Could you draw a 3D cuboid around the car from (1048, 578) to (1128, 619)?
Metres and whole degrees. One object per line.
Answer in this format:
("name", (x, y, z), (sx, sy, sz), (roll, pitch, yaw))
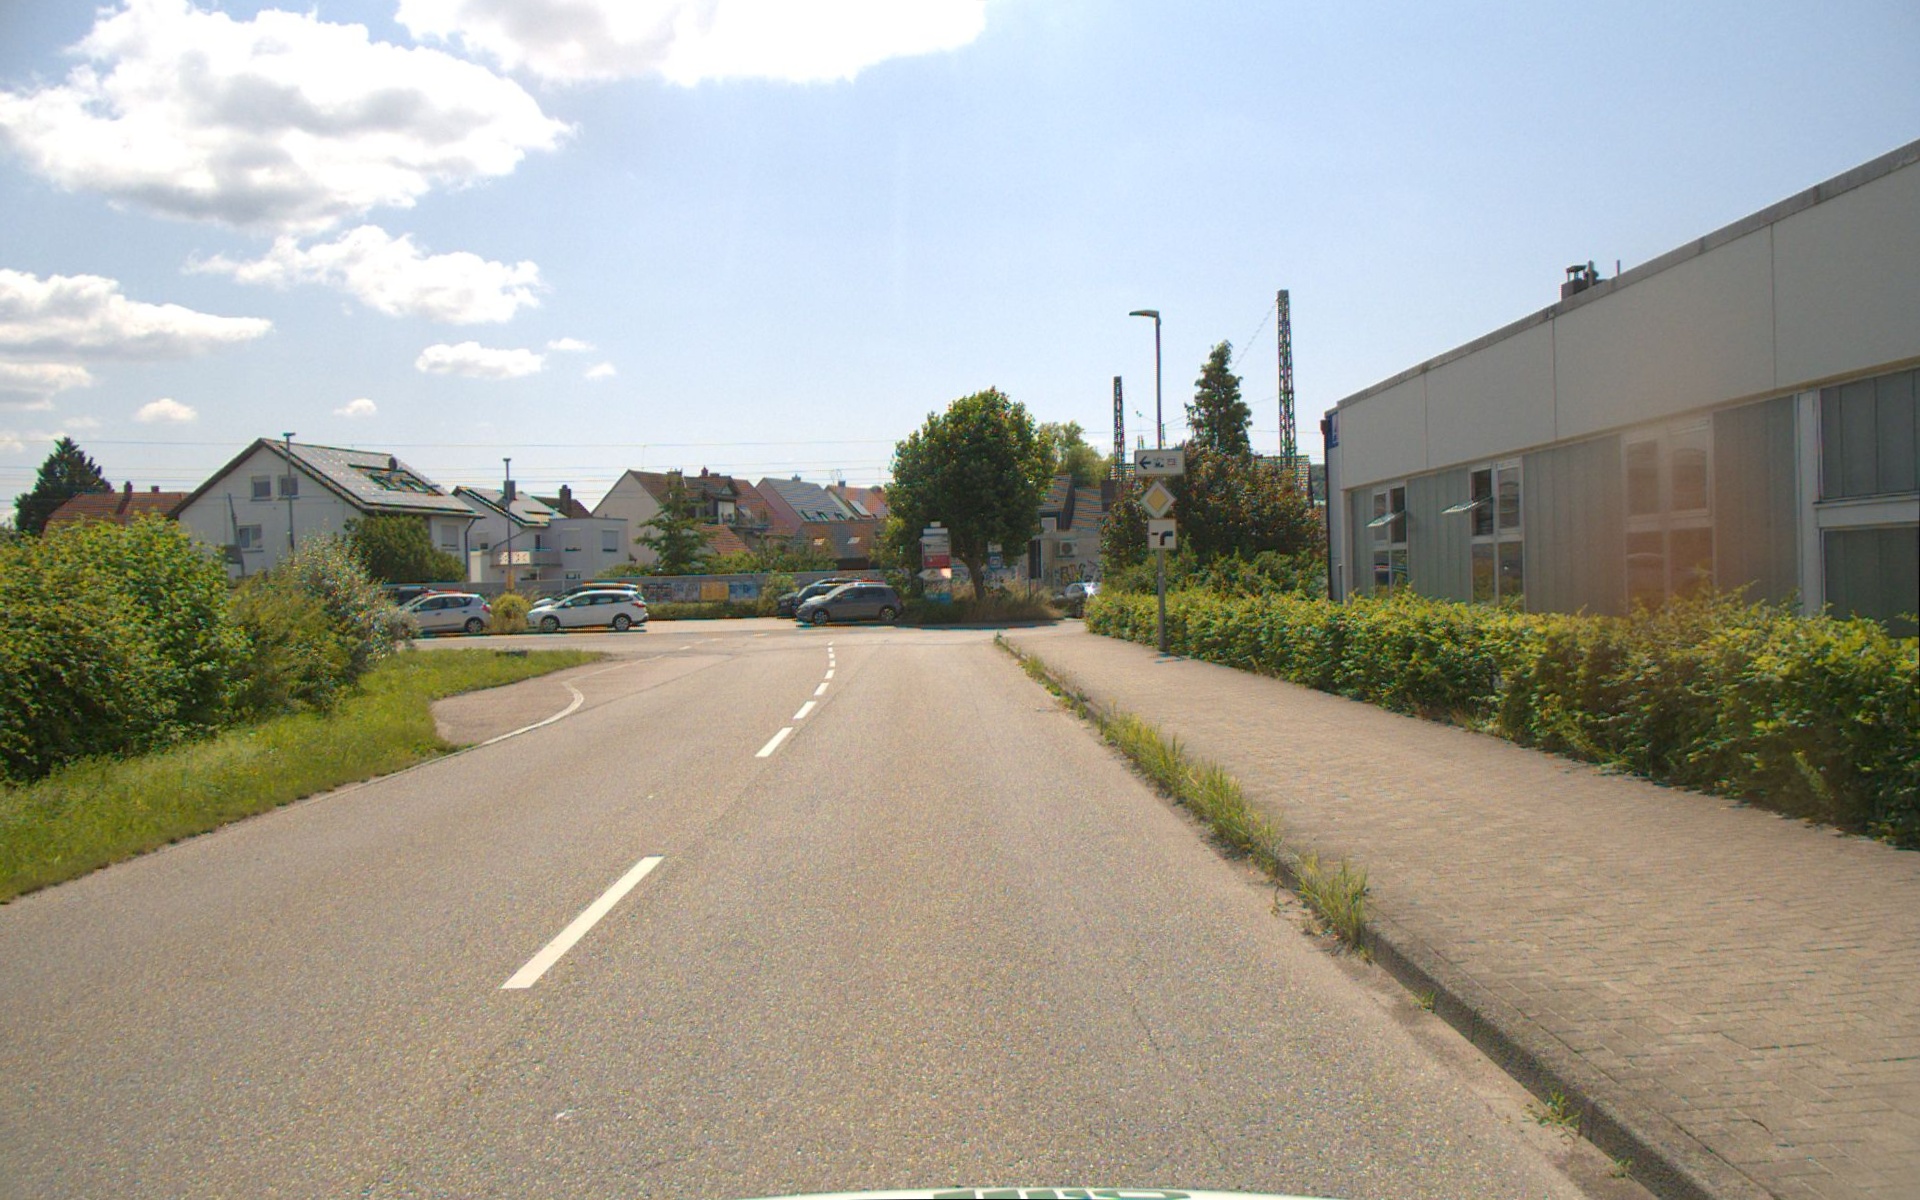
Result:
("car", (5.204, -0.096, 67.648), (1.727, 1.410, 3.976), (0, 4, -21))

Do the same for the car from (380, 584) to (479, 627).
("car", (-21.616, 0.218, 67.531), (3.770, 1.617, 1.490), (-2, 1, -17))

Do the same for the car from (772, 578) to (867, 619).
("car", (-6.094, -0.058, 71.451), (3.916, 1.760, 1.765), (0, 0, -11))

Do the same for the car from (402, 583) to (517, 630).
("car", (-18.423, 0.237, 60.864), (3.941, 1.589, 1.812), (-2, 0, -20))

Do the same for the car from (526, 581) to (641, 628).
("car", (-15.048, 0.159, 66.352), (4.371, 1.720, 1.996), (-1, 2, -10))

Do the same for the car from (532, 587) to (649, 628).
("car", (-13.807, 0.294, 61.853), (4.209, 1.502, 1.821), (0, 0, -14))

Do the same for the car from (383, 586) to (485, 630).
("car", (-20.757, 0.301, 65.386), (3.720, 1.585, 1.688), (-2, 1, -15))

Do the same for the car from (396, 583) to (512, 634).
("car", (-19.289, 0.301, 63.076), (4.097, 1.667, 1.945), (-4, 1, -19))

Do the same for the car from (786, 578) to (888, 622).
("car", (-4.969, -0.003, 66.657), (3.916, 1.614, 1.775), (-2, 0, -11))

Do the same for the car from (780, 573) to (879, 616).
("car", (-5.473, -0.240, 69.124), (3.916, 1.686, 1.995), (-2, 1, -11))

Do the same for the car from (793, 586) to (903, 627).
("car", (-4.363, 0.250, 64.094), (4.111, 1.488, 1.660), (-1, 0, -10))
